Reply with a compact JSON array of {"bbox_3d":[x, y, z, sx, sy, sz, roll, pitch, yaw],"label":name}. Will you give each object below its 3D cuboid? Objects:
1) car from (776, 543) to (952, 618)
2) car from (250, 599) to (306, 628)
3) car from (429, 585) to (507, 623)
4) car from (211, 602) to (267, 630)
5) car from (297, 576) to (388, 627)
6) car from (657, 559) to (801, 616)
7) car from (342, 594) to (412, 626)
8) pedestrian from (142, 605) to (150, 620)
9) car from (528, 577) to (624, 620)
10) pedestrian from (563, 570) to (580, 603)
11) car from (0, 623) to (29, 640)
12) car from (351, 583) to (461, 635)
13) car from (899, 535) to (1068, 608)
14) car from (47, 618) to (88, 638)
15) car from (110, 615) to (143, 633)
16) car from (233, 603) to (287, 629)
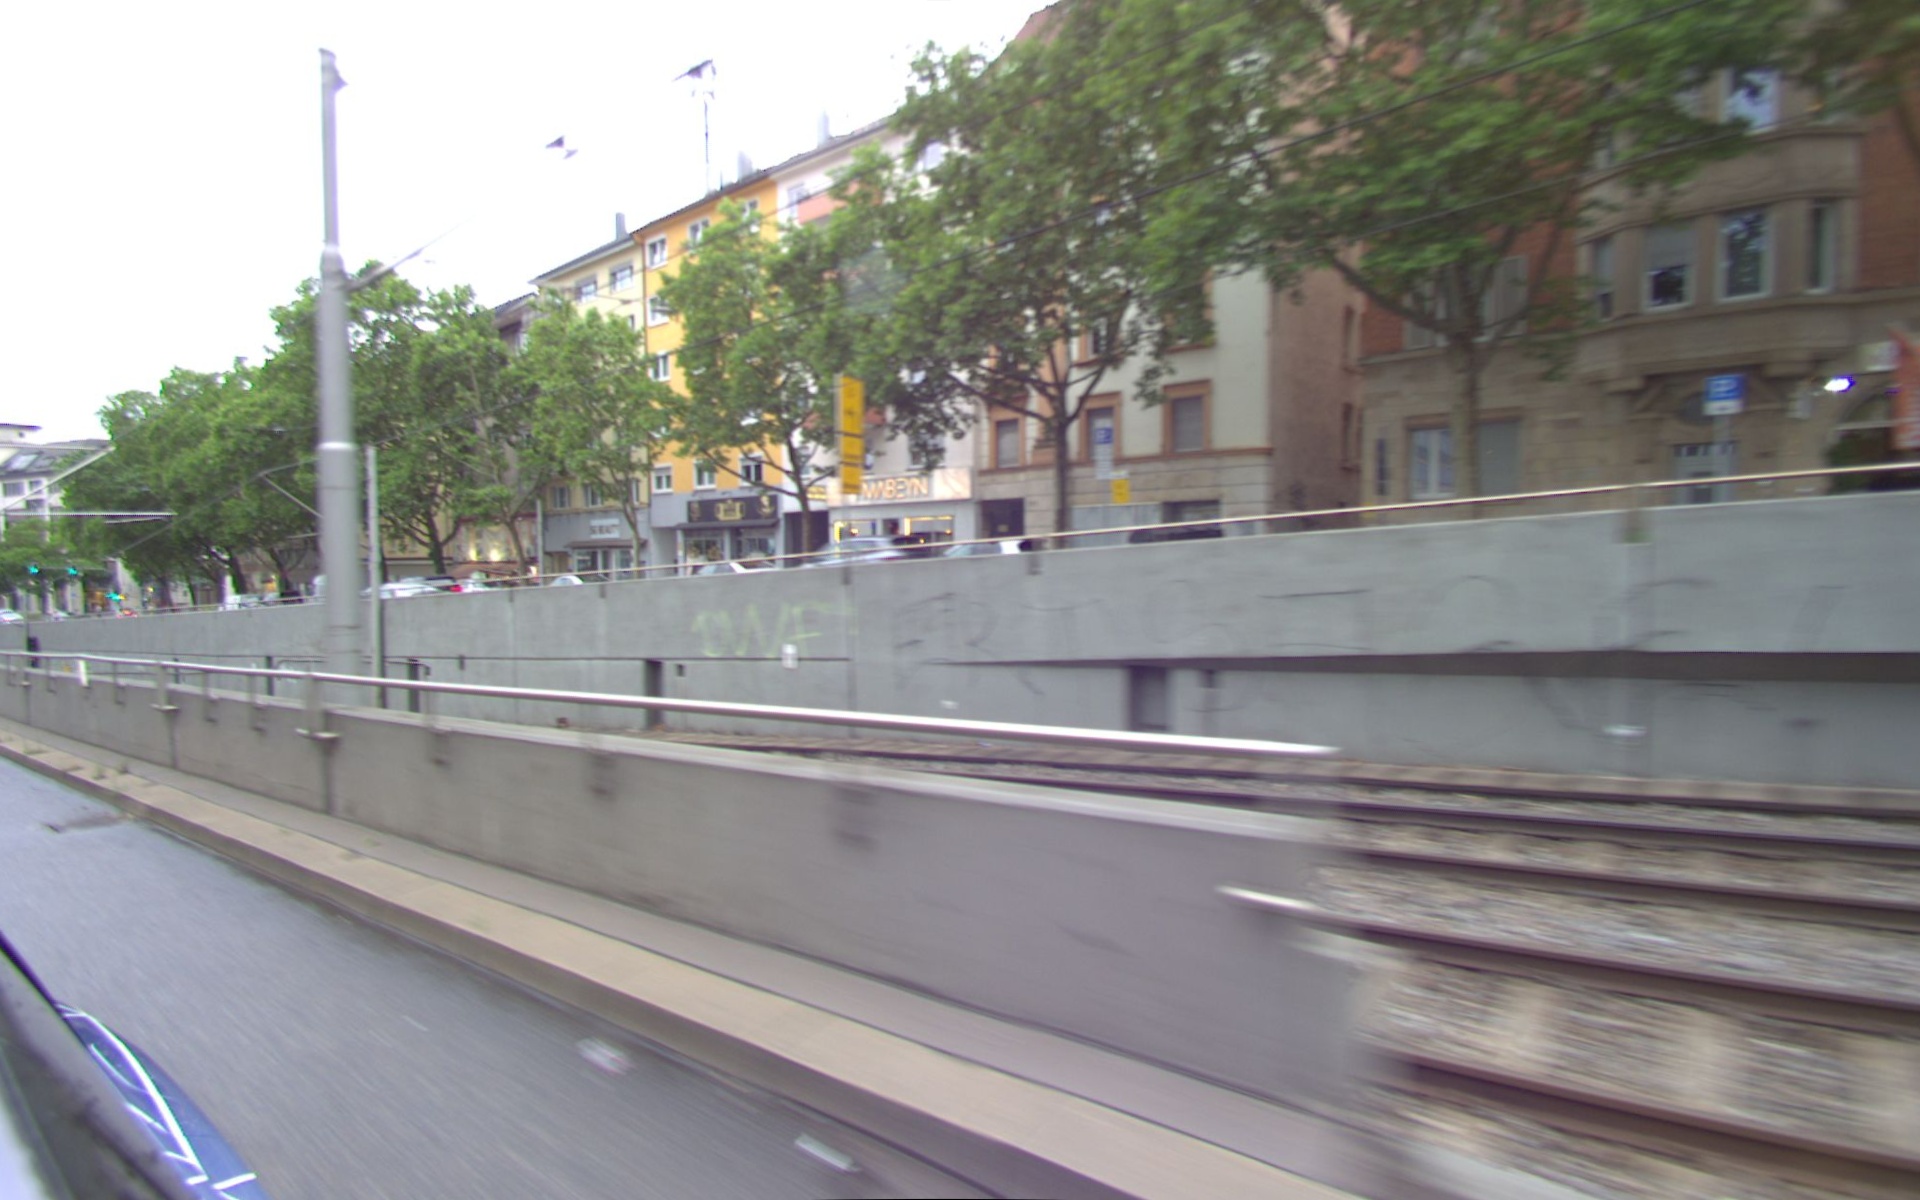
[{"bbox_3d":[-2.345,-0.448,24.243,4.105,1.521,1.776,-2,3,41],"label":"car"},{"bbox_3d":[-45.476,0.918,67.449,4.200,1.742,1.778,-2,2,38],"label":"car"},{"bbox_3d":[-23.434,0.204,48.146,4.205,1.582,1.776,-2,3,41],"label":"car"},{"bbox_3d":[-52.982,1.161,74.362,4.892,1.777,1.860,-2,2,37],"label":"car"},{"bbox_3d":[-36.686,0.129,60.023,6.927,2.682,2.428,-2,3,41],"label":"car"},{"bbox_3d":[-7.817,-0.378,33.958,5.195,1.613,1.908,-2,3,40],"label":"car"},{"bbox_3d":[-31.957,0.552,55.435,4.669,1.521,1.776,-2,3,41],"label":"car"},{"bbox_3d":[-96.166,1.467,119.516,0.582,1.822,0.674,-6,4,-45],"label":"pedestrian"},{"bbox_3d":[-15.564,-0.044,40.940,4.205,1.521,1.776,-2,3,41],"label":"car"},{"bbox_3d":[-21.605,-0.741,56.290,0.517,1.760,0.622,-8,5,-42],"label":"pedestrian"},{"bbox_3d":[-94.590,3.191,100.543,4.806,1.521,1.833,-3,2,33],"label":"car"},{"bbox_3d":[-18.794,0.325,34.295,3.995,1.521,1.777,-2,2,39],"label":"car"},{"bbox_3d":[0.565,-0.716,26.380,4.108,1.623,1.777,-2,3,40],"label":"car"},{"bbox_3d":[-76.877,2.418,87.161,4.880,1.521,2.006,-2,3,41],"label":"car"},{"bbox_3d":[-80.670,2.305,97.936,4.016,1.521,1.827,-2,3,43],"label":"car"},{"bbox_3d":[-48.950,1.125,70.771,4.468,1.595,1.859,-2,3,39],"label":"car"}]
